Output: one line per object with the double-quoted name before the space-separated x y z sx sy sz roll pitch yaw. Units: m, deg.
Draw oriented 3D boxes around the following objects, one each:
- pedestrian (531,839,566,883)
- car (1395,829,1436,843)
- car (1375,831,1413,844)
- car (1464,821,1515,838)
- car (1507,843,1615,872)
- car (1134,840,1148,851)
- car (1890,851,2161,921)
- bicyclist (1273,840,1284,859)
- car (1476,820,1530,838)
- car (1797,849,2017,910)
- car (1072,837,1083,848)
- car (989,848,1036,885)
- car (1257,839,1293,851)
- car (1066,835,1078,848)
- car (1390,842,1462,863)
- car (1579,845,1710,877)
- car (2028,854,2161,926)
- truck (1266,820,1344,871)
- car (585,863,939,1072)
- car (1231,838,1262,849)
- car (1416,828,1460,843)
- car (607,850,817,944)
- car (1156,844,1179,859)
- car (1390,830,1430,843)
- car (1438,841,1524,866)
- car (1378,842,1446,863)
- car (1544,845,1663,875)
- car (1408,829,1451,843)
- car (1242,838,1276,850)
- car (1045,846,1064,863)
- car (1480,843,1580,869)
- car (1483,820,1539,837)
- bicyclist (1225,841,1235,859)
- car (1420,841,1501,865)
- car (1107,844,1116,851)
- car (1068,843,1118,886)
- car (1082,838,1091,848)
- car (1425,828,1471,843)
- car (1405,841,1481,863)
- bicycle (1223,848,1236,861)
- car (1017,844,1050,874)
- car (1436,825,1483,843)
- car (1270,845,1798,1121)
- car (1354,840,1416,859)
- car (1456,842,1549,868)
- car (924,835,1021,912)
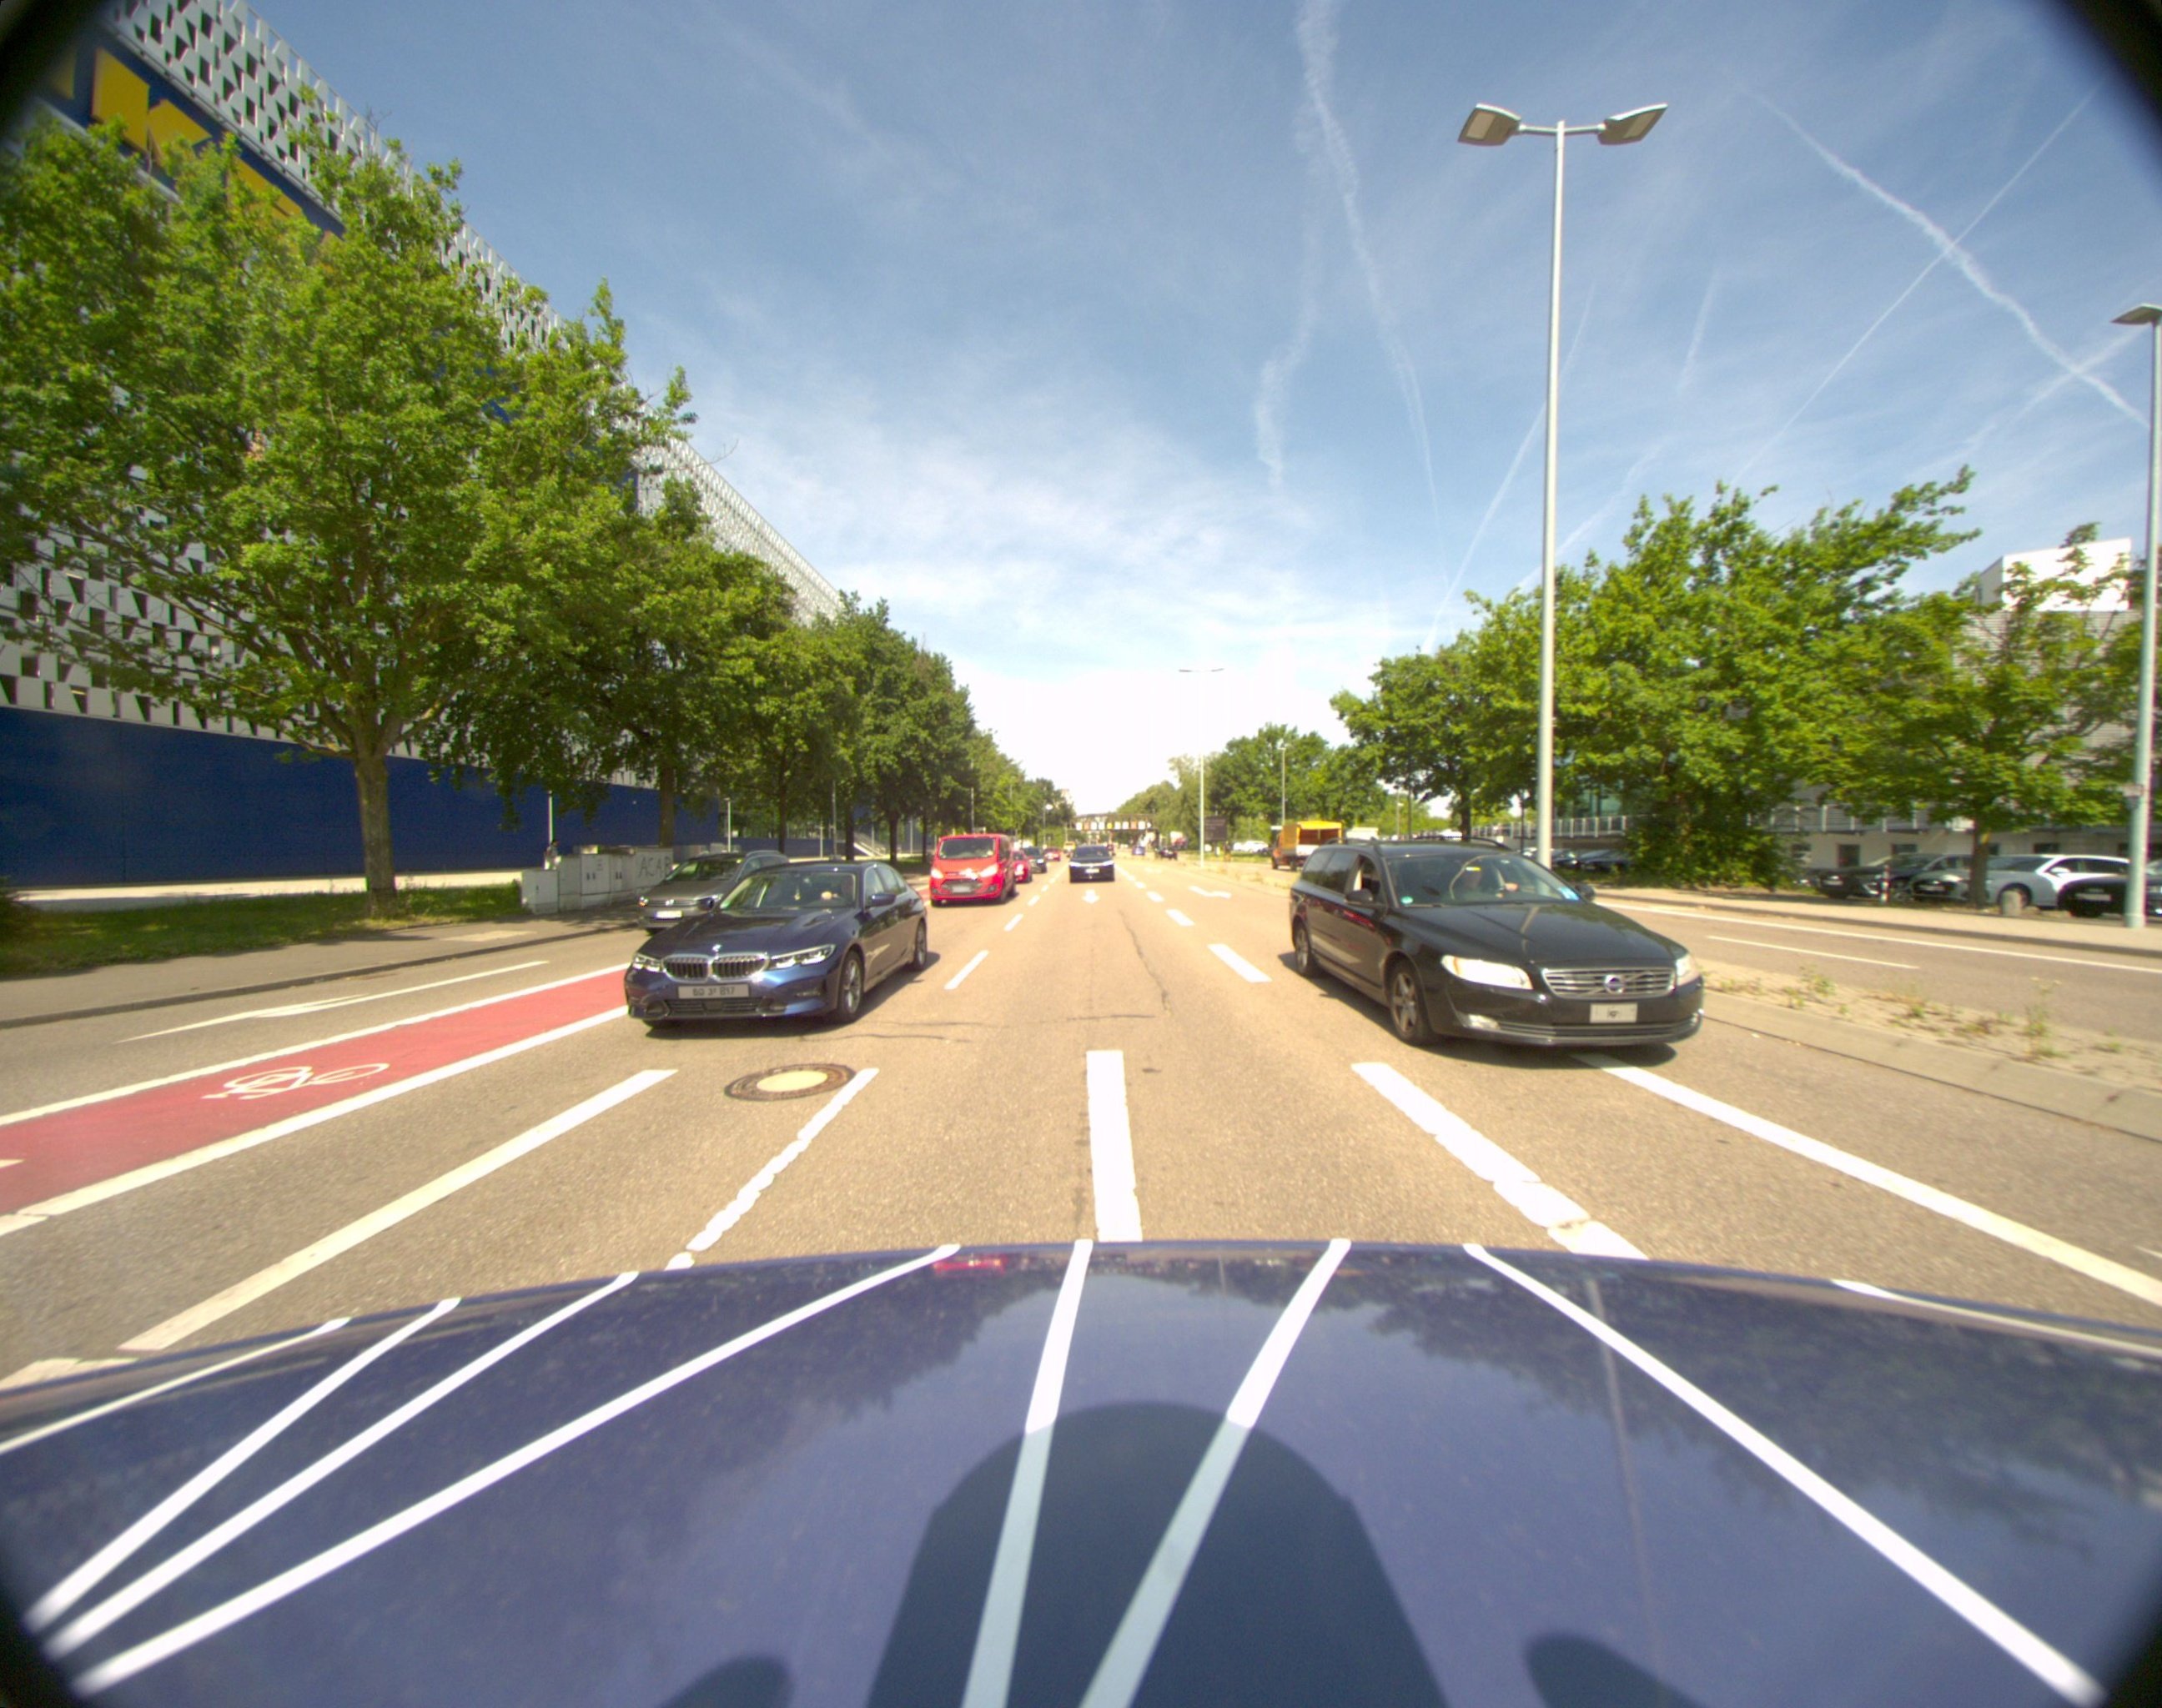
"pedestrian" -19.100 0.244 27.271 0.680 1.537 0.780 0 2 1
"car" 40.808 -2.146 92.786 4.196 1.491 1.690 3 1 2
"car" 41.166 -2.194 100.035 4.196 1.491 1.690 3 1 2
"car" 41.198 -2.473 76.731 4.196 1.491 1.690 3 1 2
"car" 23.794 0.156 37.758 4.196 1.239 1.690 3 1 2
"car" 8.536 -1.198 109.037 1.732 1.430 3.869 2 1 1
"car" 22.596 0.739 18.284 4.226 1.387 1.802 3 1 0
"bicyclist" 14.720 -0.342 56.720 0.571 1.474 1.143 0 1 4
"car" 41.069 -2.449 73.999 4.196 1.491 1.690 3 1 2
"car" 22.692 0.667 20.999 4.034 1.394 1.809 3 1 0
"car" -0.714 -2.234 147.958 1.998 2.002 3.998 -3 2 0
"car" -2.903 0.506 32.902 1.692 1.414 3.914 -1 1 -1
"car" 25.267 -1.208 99.173 4.196 1.315 1.690 3 1 2
"car" -1.534 -2.154 130.938 1.998 2.002 3.998 -3 2 0
"car" 24.114 -0.146 53.248 4.196 1.248 1.690 3 1 2
"car" 23.776 0.291 32.145 4.196 1.128 1.695 3 1 2
"car" 22.633 0.781 15.577 4.121 1.347 1.835 3 1 -1
"truck" 12.174 -0.481 41.853 2.381 2.610 6.672 0 1 1
"car" -2.869 0.906 8.105 1.800 1.421 4.537 -1 1 0
"car" 24.470 -1.600 112.397 4.196 1.371 1.690 3 1 2
"car" 40.828 -2.100 86.925 4.196 1.491 1.690 3 1 2
"car" -7.808 0.816 16.667 1.997 1.646 4.392 -2 1 7
"car" 9.248 -0.263 81.436 1.851 1.451 4.662 2 1 -1
"car" 41.194 -2.164 95.072 4.196 1.491 1.690 3 1 2
"car" 23.759 -0.037 45.232 4.196 1.247 1.690 3 1 2
"car" 24.218 -0.101 55.654 4.196 1.317 1.690 3 1 2
"car" 23.948 0.266 34.900 4.196 1.116 1.719 3 1 2
"car" 40.936 -2.106 89.214 4.196 1.491 1.690 3 1 2
"car" 24.452 -1.419 104.615 4.196 1.491 1.690 3 1 2
"car" -2.587 0.036 74.571 1.649 1.531 3.999 -3 1 -1
"car" 23.721 0.096 40.255 4.196 1.188 1.690 3 1 2
"car" 40.376 -2.408 71.380 4.196 1.397 1.690 3 1 2
"bicyclist" 13.473 -0.369 68.855 0.578 1.587 0.909 1 2 -11
"car" 23.873 -0.069 47.927 4.196 1.252 1.690 3 1 2
"car" 6.512 -1.487 162.630 1.866 1.503 4.000 0 1 3
"car" 0.465 0.376 31.242 1.847 1.531 3.999 -3 1 0
"car" 1.329 -2.644 182.010 1.998 2.002 3.998 -3 2 0
"car" 40.813 -2.068 84.591 4.196 1.491 1.690 3 1 2
"car" 24.031 -0.135 50.561 4.196 1.292 1.690 3 1 2
"bicycle" 13.480 0.021 68.957 0.573 1.143 1.767 1 1 -11
"car" -2.711 0.242 44.054 1.649 1.531 3.999 -3 1 -1
"car" 40.782 -2.162 81.931 4.196 1.722 1.690 3 1 2
"car" 3.214 0.723 6.804 1.882 1.513 4.868 -2 1 1
"car" 24.234 -0.350 60.718 4.196 1.315 1.690 3 1 2
"car" 23.633 0.040 42.710 4.196 1.199 1.690 3 1 2
"car" -2.958 0.454 21.820 2.014 1.896 4.809 -2 1 0
